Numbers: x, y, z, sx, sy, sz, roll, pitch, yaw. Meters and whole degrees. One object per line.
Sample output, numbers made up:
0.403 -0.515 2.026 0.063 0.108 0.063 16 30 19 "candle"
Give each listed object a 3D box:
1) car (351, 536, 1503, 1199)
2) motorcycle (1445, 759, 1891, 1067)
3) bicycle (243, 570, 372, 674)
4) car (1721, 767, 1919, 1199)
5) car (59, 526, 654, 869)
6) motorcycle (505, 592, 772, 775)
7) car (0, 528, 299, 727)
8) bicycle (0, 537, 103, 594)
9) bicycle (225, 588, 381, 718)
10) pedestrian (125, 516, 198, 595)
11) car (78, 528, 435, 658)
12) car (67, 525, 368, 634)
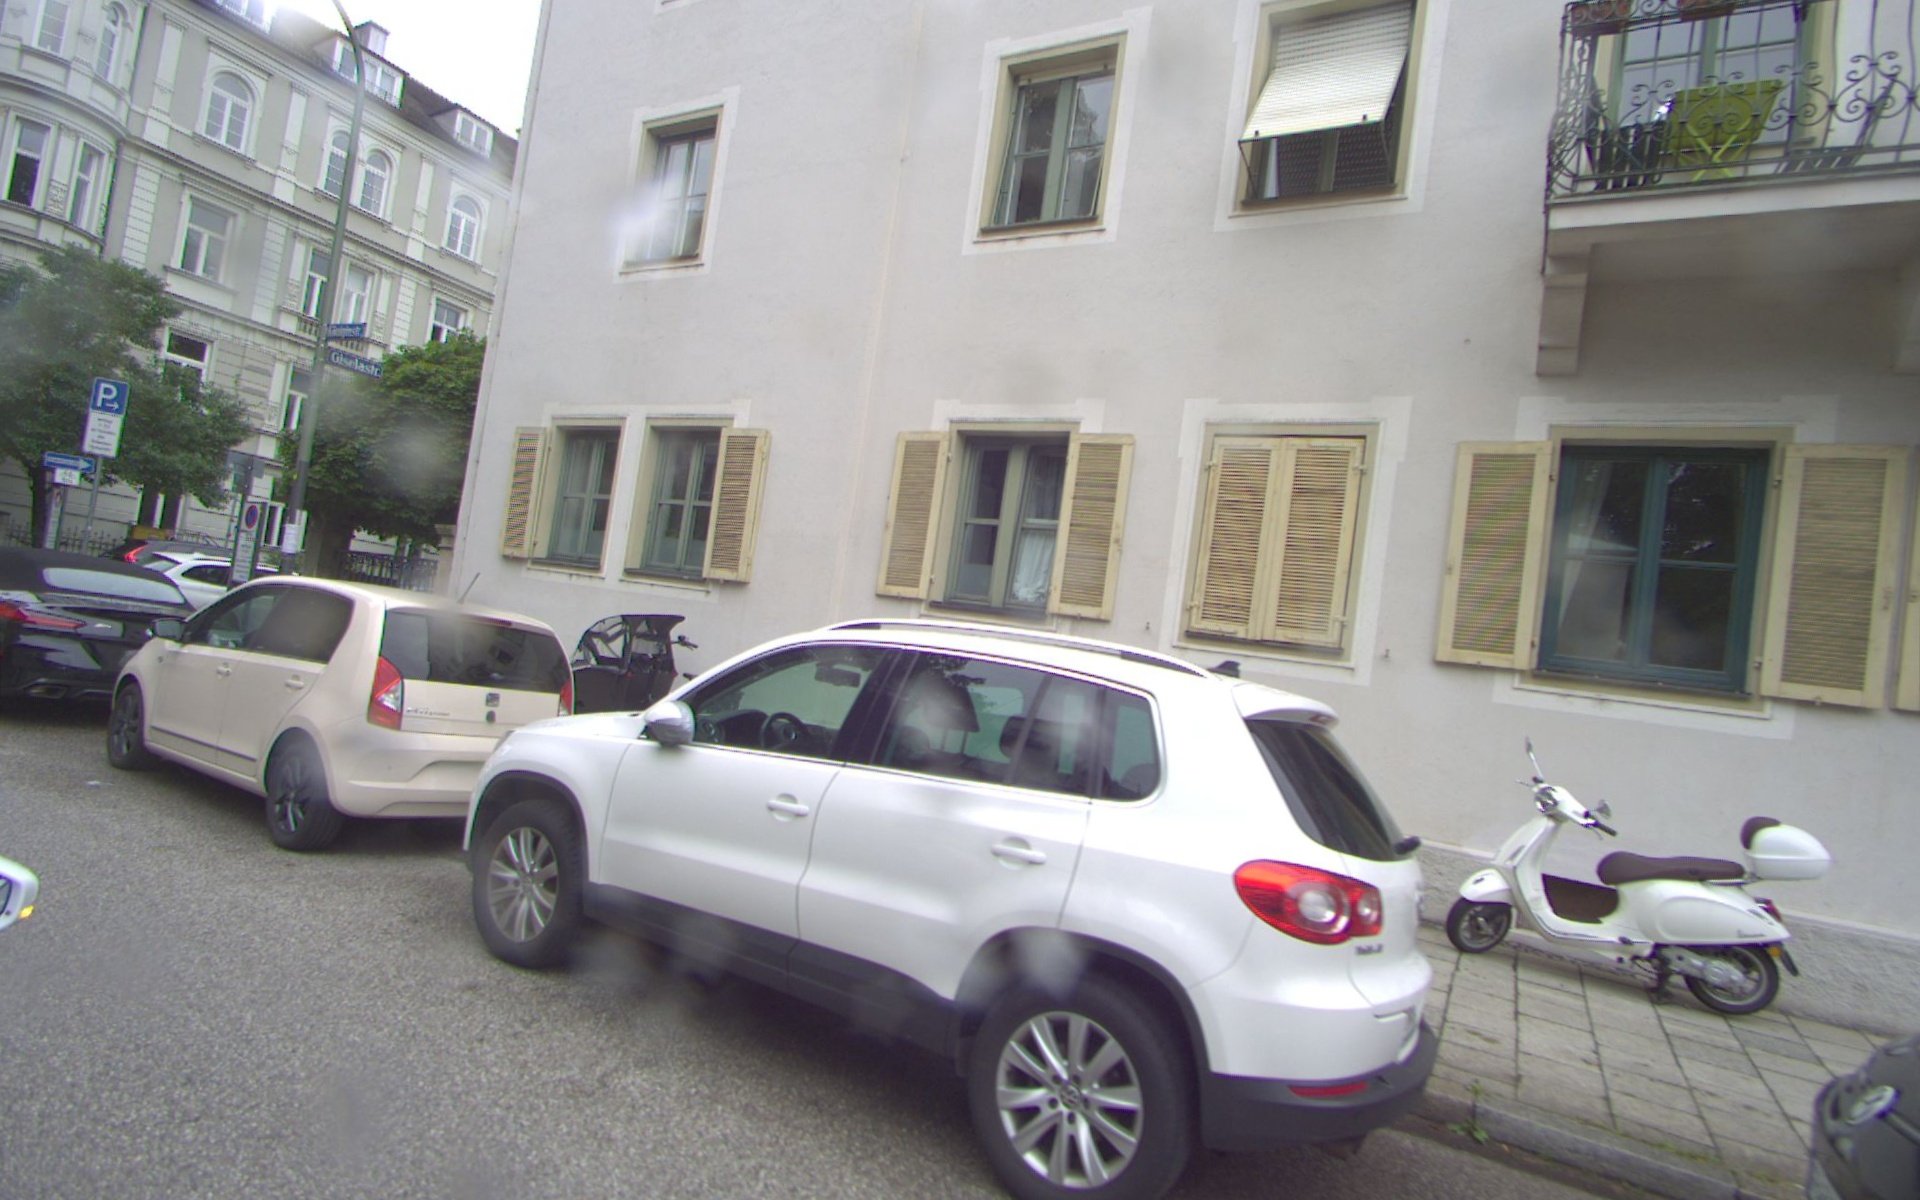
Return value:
-0.279 0.923 4.383 4.458 1.723 2.001 6 -5 31 "car"
4.075 1.743 6.004 1.973 1.251 0.735 6 -4 30 "motorcycle"
-9.147 0.297 14.096 1.745 1.239 0.544 6 -2 25 "bicycle"
4.044 1.440 1.500 4.342 1.548 1.843 6 -3 32 "car"
-4.123 0.589 6.790 3.651 1.559 1.779 6 -8 33 "car"
-3.341 0.818 10.347 2.660 1.449 0.860 7 -3 29 "motorcycle"
-8.299 0.107 9.103 4.518 1.335 2.004 6 -1 31 "car"
-21.719 -0.817 23.872 0.548 1.039 1.926 8 -3 36 "bicycle"
-6.826 0.524 10.408 1.910 1.075 0.663 6 -3 38 "bicycle"
-19.306 -1.066 24.330 0.846 1.708 0.974 6 -2 32 "pedestrian"
-12.659 -0.021 18.513 1.880 1.548 4.920 9 -2 30 "car"
-16.644 -0.367 22.911 1.912 1.668 5.054 2 -6 30 "car"
